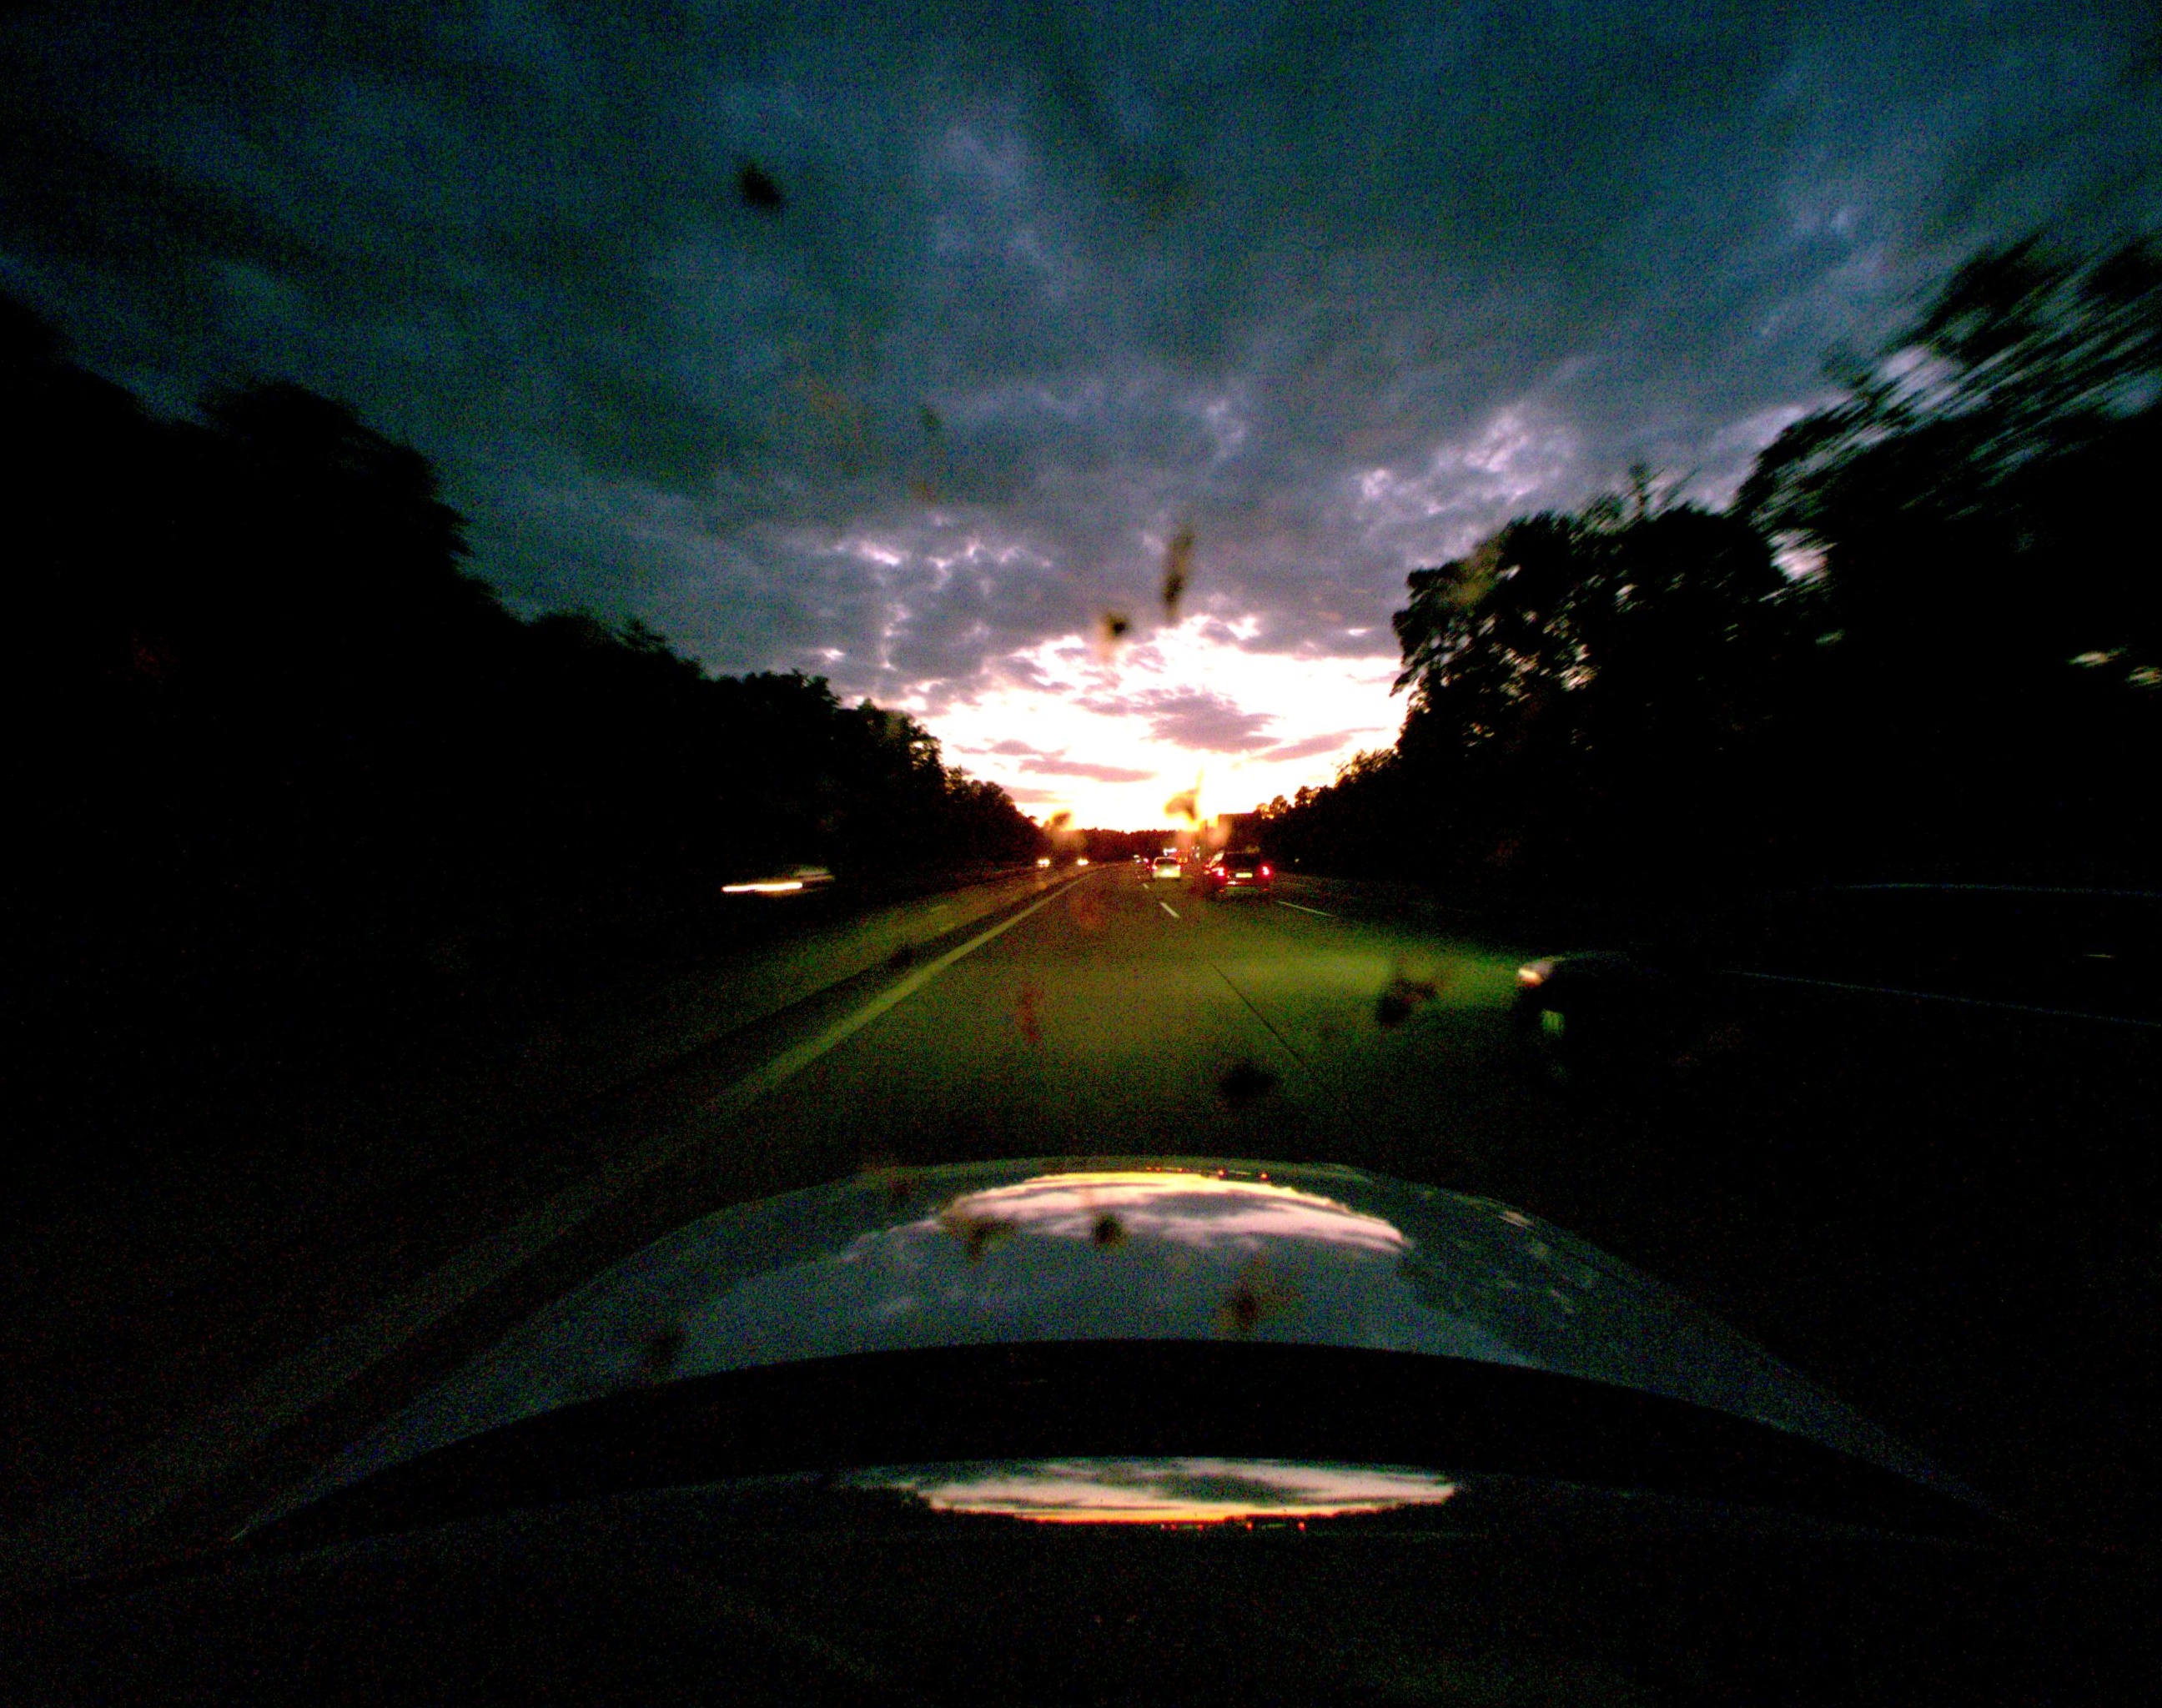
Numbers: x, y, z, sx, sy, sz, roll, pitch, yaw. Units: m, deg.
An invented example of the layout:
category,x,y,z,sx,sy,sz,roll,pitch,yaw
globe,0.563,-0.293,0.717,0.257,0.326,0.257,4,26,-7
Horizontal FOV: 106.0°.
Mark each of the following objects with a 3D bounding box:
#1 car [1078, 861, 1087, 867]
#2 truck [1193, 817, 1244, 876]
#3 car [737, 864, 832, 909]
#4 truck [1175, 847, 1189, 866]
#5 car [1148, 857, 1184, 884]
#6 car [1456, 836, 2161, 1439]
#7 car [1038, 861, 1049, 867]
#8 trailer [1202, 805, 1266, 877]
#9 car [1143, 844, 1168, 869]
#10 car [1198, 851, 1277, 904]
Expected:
category,x,y,z,sx,sy,sz,roll,pitch,yaw
car,0.402,2.588,205.375,1.833,1.463,4.784,1,0,6
truck,10.425,-0.461,62.657,2.872,4.101,10.844,-1,-1,4
car,-10.462,1.089,29.093,1.612,1.405,4.318,-1,0,2
truck,32.731,0.925,262.709,4.126,5.856,14.326,-1,-1,8
car,5.051,0.930,48.812,1.853,1.442,3.721,-1,1,1
car,3.777,0.708,3.614,1.902,1.537,5.233,-1,1,1
car,-8.699,2.285,189.363,1.830,1.463,4.012,1,0,11
trailer,9.582,-0.650,52.026,2.894,4.101,10.369,-1,-1,4
car,7.672,0.284,83.240,2.153,2.419,5.578,-1,-1,9
car,5.280,0.752,28.115,1.896,1.643,5.054,-1,0,2
